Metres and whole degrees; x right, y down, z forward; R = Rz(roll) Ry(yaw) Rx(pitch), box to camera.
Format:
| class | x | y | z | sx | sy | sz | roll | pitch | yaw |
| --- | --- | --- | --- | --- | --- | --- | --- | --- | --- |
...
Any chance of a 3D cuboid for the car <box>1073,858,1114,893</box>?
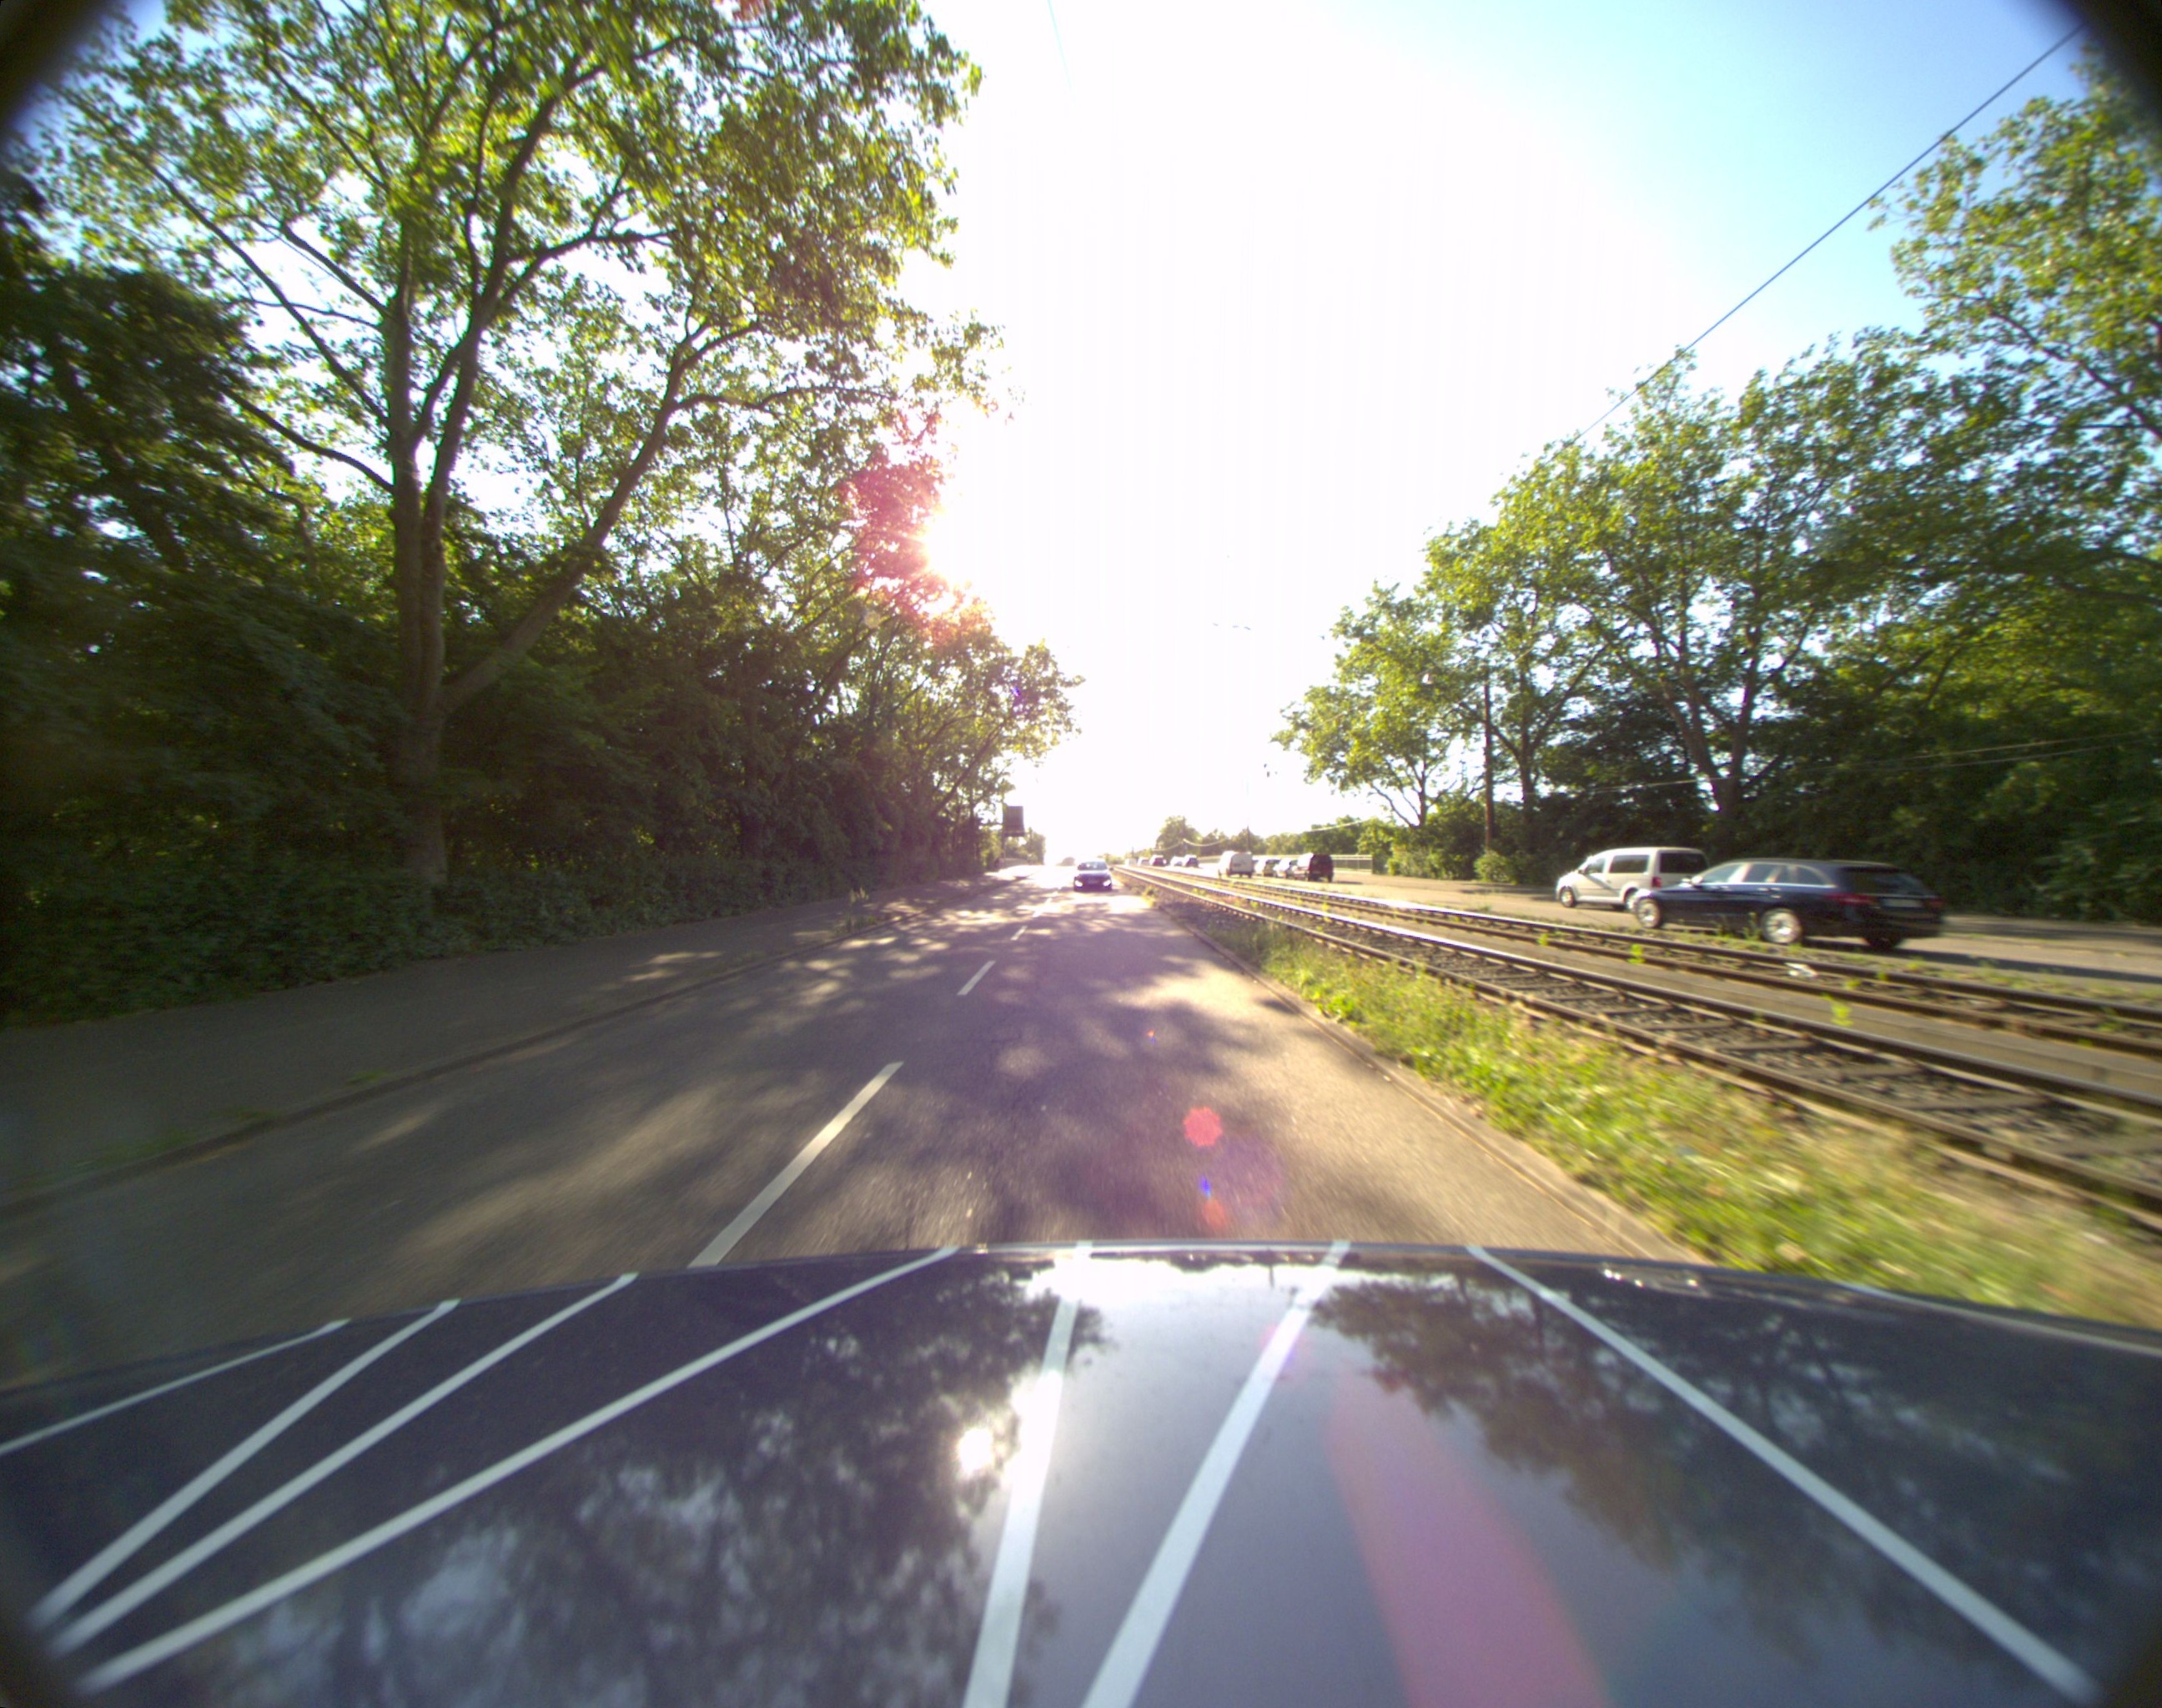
| class | x | y | z | sx | sy | sz | roll | pitch | yaw |
| --- | --- | --- | --- | --- | --- | --- | --- | --- | --- |
| car | 0.538 | 0.979 | 36.224 | 1.799 | 1.501 | 4.000 | -2 | 0 | -1 |

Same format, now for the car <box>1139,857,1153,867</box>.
| class | x | y | z | sx | sy | sz | roll | pitch | yaw |
| --- | --- | --- | --- | --- | --- | --- | --- | --- | --- |
| car | 11.651 | 1.436 | 137.264 | 1.988 | 1.841 | 4.962 | 1 | 0 | -1 |

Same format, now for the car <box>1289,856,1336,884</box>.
| class | x | y | z | sx | sy | sz | roll | pitch | yaw |
| --- | --- | --- | --- | --- | --- | --- | --- | --- | --- |
| car | 15.122 | 1.008 | 49.799 | 1.735 | 1.730 | 3.899 | 1 | 0 | -2 |

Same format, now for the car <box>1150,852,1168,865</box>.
| class | x | y | z | sx | sy | sz | roll | pitch | yaw |
| --- | --- | --- | --- | --- | --- | --- | --- | --- | --- |
| car | 11.410 | 0.584 | 111.673 | 1.988 | 1.841 | 4.962 | 1 | 0 | -1 |

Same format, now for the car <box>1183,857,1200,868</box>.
| class | x | y | z | sx | sy | sz | roll | pitch | yaw |
| --- | --- | --- | --- | --- | --- | --- | --- | --- | --- |
| car | 14.807 | 1.119 | 102.310 | 1.658 | 1.491 | 3.925 | 1 | 0 | 0 |

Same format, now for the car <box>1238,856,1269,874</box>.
| class | x | y | z | sx | sy | sz | roll | pitch | yaw |
| --- | --- | --- | --- | --- | --- | --- | --- | --- | --- |
| car | 14.970 | 0.940 | 66.091 | 1.659 | 1.491 | 3.924 | 1 | 0 | -2 |

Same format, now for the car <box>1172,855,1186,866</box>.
| class | x | y | z | sx | sy | sz | roll | pitch | yaw |
| --- | --- | --- | --- | --- | --- | --- | --- | --- | --- |
| car | 14.693 | 0.977 | 113.951 | 1.658 | 1.491 | 3.925 | 1 | 0 | 0 |

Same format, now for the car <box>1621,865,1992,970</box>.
| class | x | y | z | sx | sy | sz | roll | pitch | yaw |
| --- | --- | --- | --- | --- | --- | --- | --- | --- | --- |
| car | 12.286 | 0.966 | 13.465 | 1.925 | 1.407 | 4.748 | 1 | 0 | -2 |

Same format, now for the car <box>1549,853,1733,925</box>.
| class | x | y | z | sx | sy | sz | roll | pitch | yaw |
| --- | --- | --- | --- | --- | --- | --- | --- | --- | --- |
| car | 15.651 | 0.892 | 21.586 | 1.832 | 1.830 | 4.393 | 1 | 0 | -2 |

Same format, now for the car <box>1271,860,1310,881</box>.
| class | x | y | z | sx | sy | sz | roll | pitch | yaw |
| --- | --- | --- | --- | --- | --- | --- | --- | --- | --- |
| car | 15.188 | 1.186 | 55.224 | 1.659 | 1.433 | 3.784 | 1 | 0 | -2 |

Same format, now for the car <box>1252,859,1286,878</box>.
| class | x | y | z | sx | sy | sz | roll | pitch | yaw |
| --- | --- | --- | --- | --- | --- | --- | --- | --- | --- |
| car | 14.984 | 1.147 | 60.709 | 1.658 | 1.433 | 3.785 | 1 | 0 | -1 |

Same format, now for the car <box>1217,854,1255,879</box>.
| class | x | y | z | sx | sy | sz | roll | pitch | yaw |
| --- | --- | --- | --- | --- | --- | --- | --- | --- | --- |
| car | 11.860 | 0.906 | 58.450 | 1.832 | 1.841 | 5.035 | 1 | 0 | -1 |
